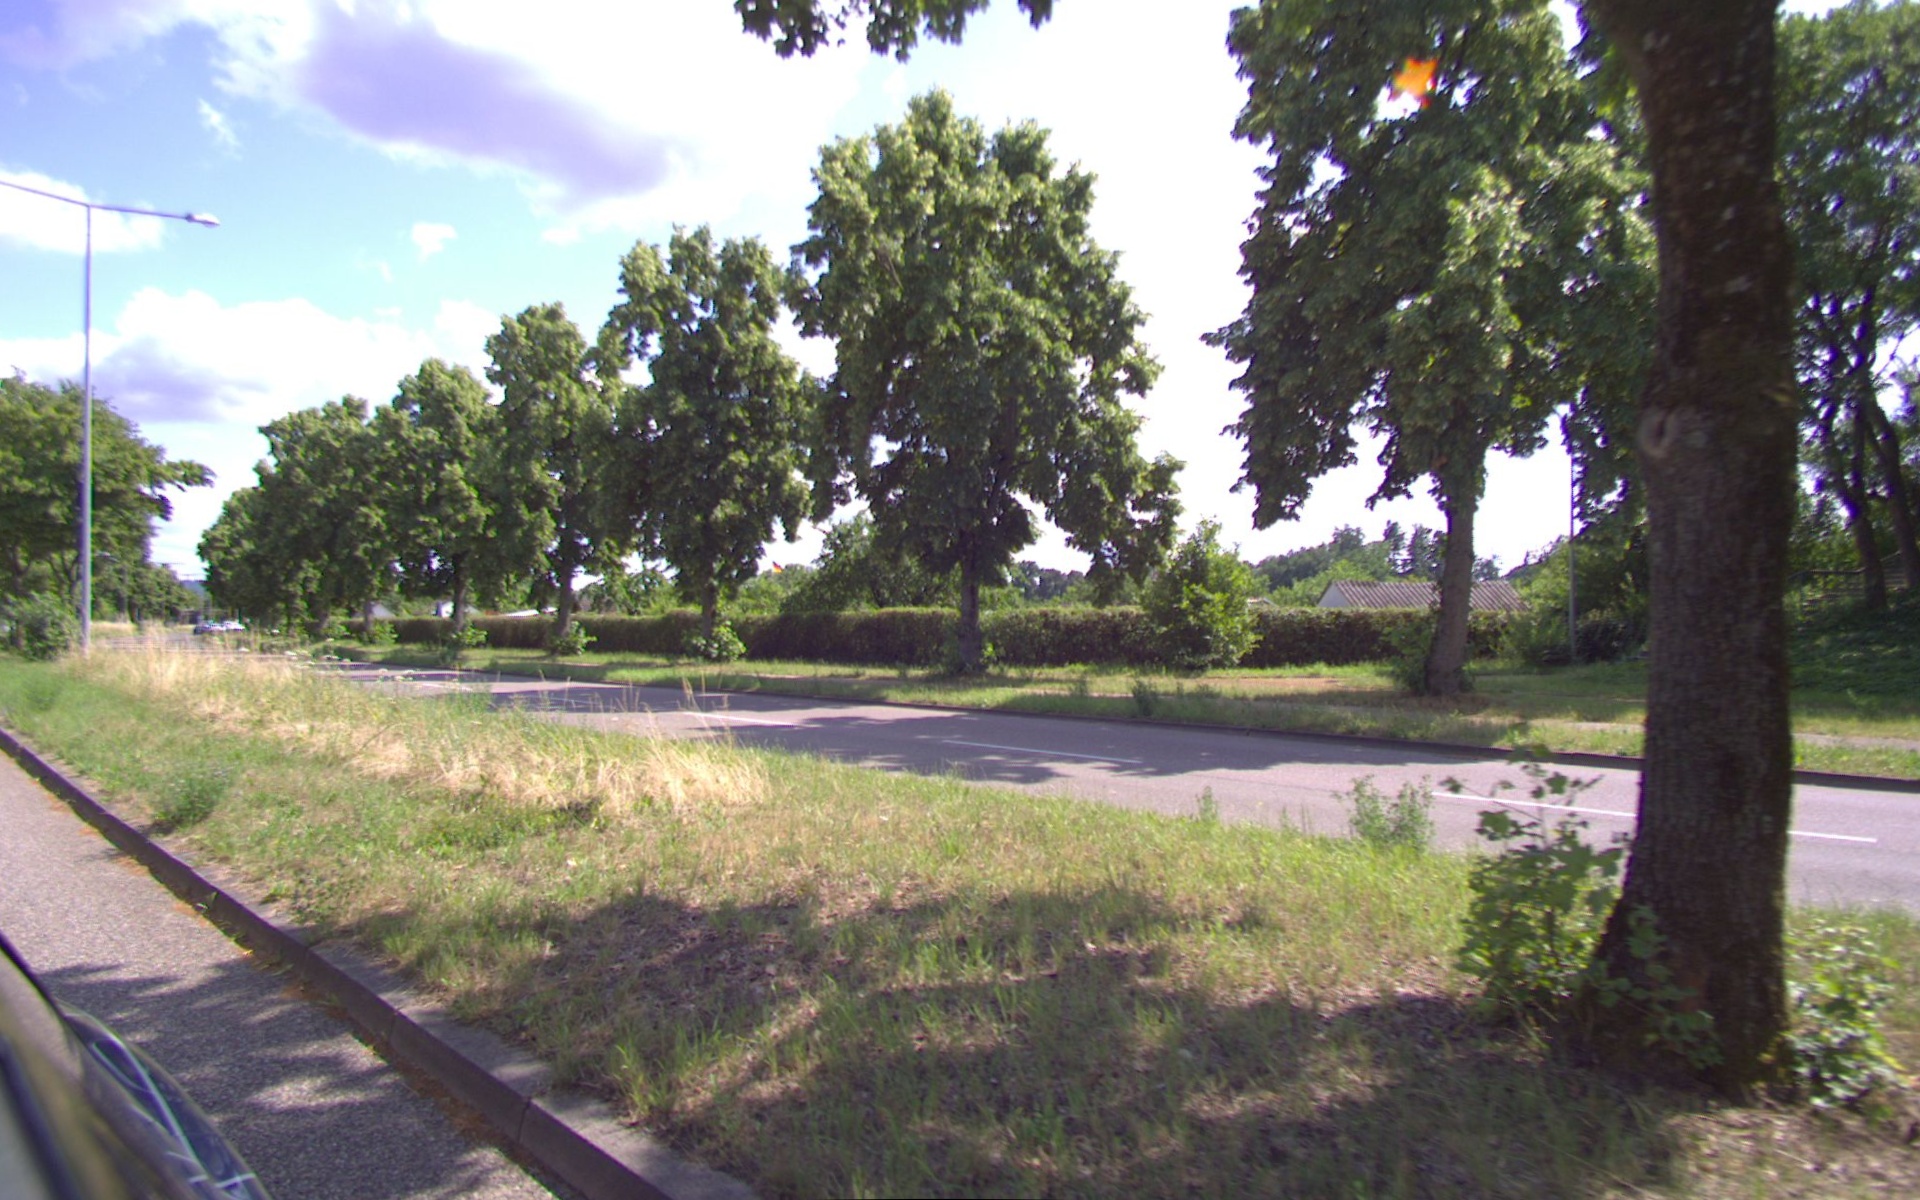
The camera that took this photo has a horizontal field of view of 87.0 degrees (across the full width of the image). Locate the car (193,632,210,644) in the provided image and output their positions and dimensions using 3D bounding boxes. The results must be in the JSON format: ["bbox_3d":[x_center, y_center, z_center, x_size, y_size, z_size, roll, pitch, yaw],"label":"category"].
[{"bbox_3d":[-106.444,5.335,142.031,1.713,1.598,4.122,2,-3,-35],"label":"car"}]

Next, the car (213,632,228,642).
[{"bbox_3d":[-123.478,6.175,168.903,1.713,1.598,4.123,2,-3,-33],"label":"car"}]

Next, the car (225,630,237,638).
[{"bbox_3d":[-147.159,6.808,204.220,1.713,1.598,4.123,2,-3,-33],"label":"car"}]
